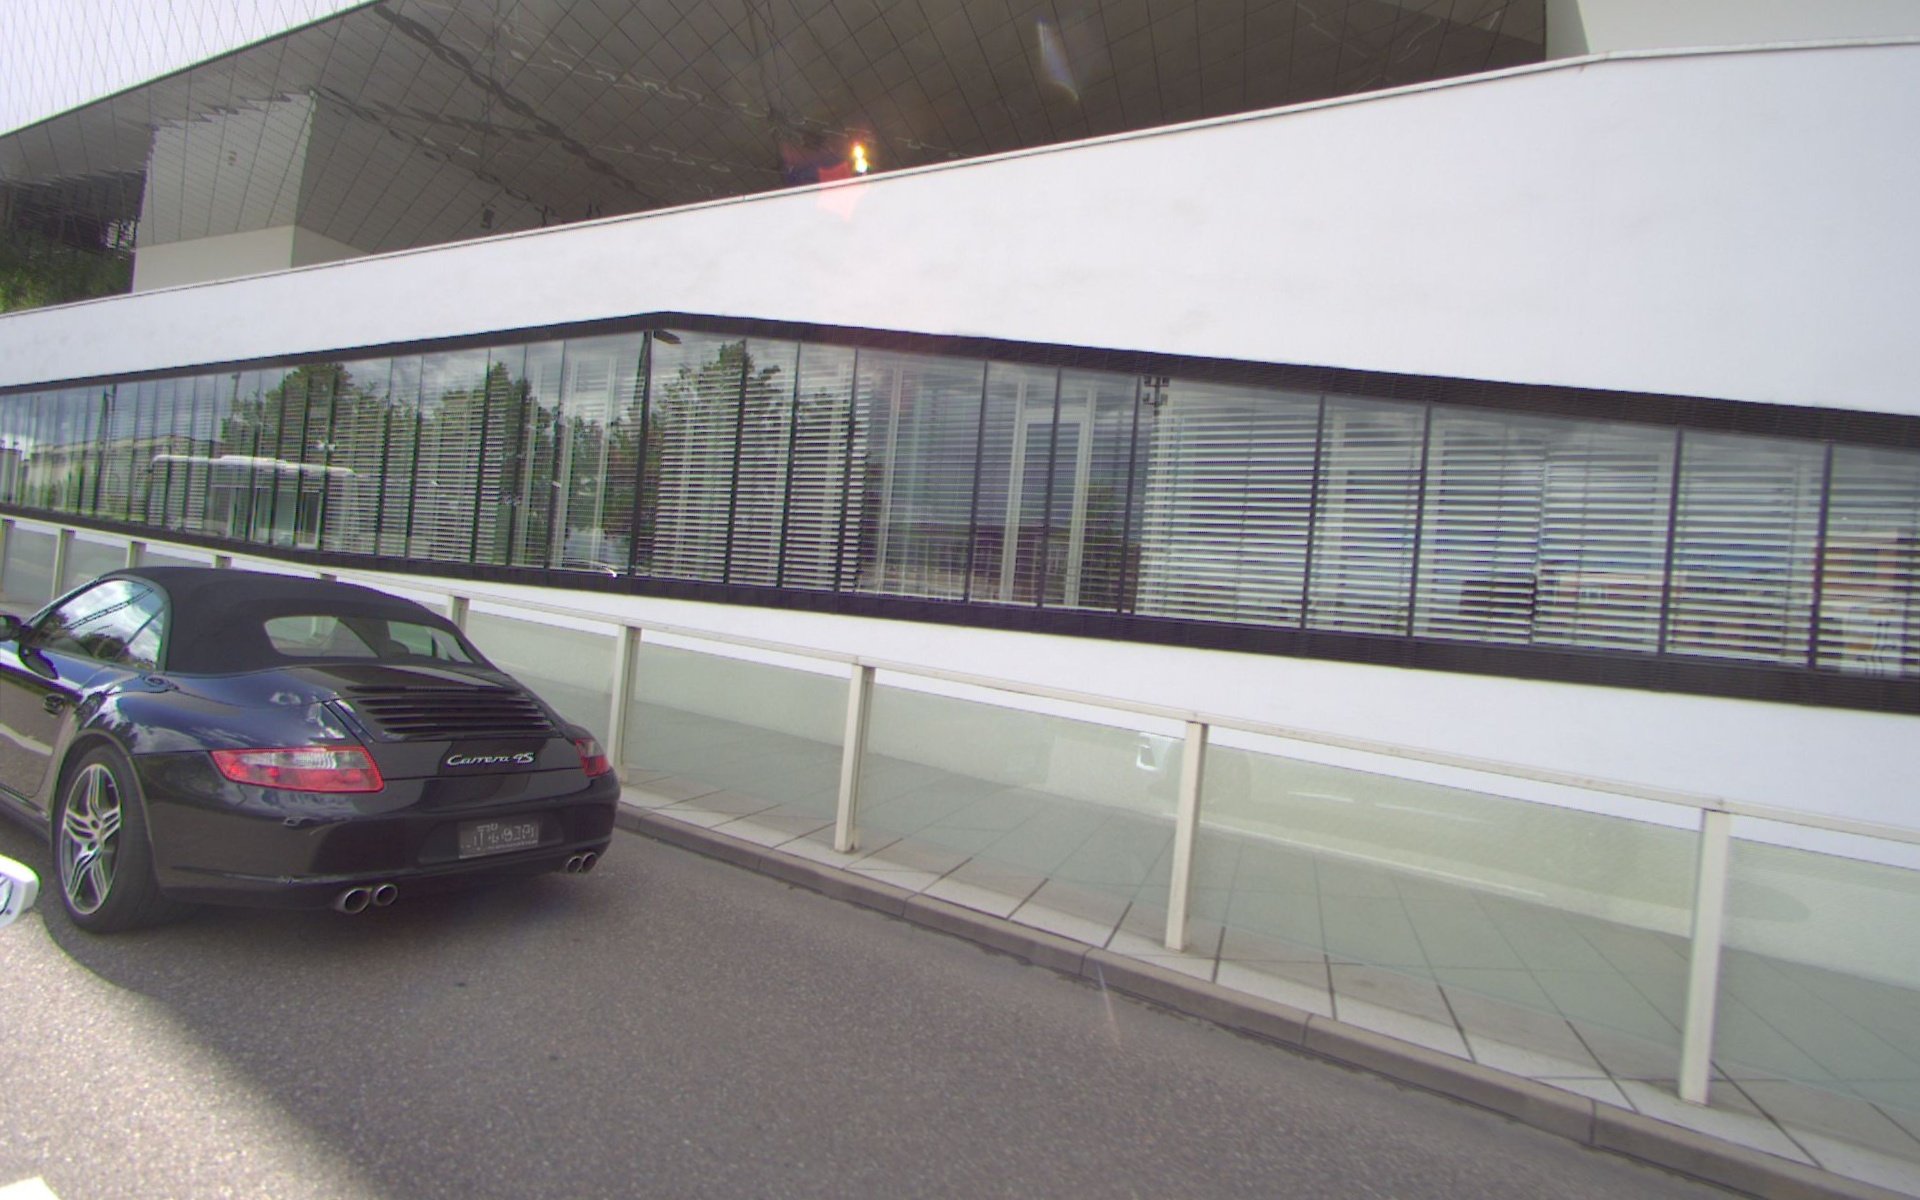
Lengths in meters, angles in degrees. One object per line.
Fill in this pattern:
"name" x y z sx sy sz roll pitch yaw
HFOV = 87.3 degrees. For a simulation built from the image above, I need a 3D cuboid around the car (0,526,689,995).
"car" -3.439 0.459 4.863 4.020 1.290 1.723 6 -1 31
